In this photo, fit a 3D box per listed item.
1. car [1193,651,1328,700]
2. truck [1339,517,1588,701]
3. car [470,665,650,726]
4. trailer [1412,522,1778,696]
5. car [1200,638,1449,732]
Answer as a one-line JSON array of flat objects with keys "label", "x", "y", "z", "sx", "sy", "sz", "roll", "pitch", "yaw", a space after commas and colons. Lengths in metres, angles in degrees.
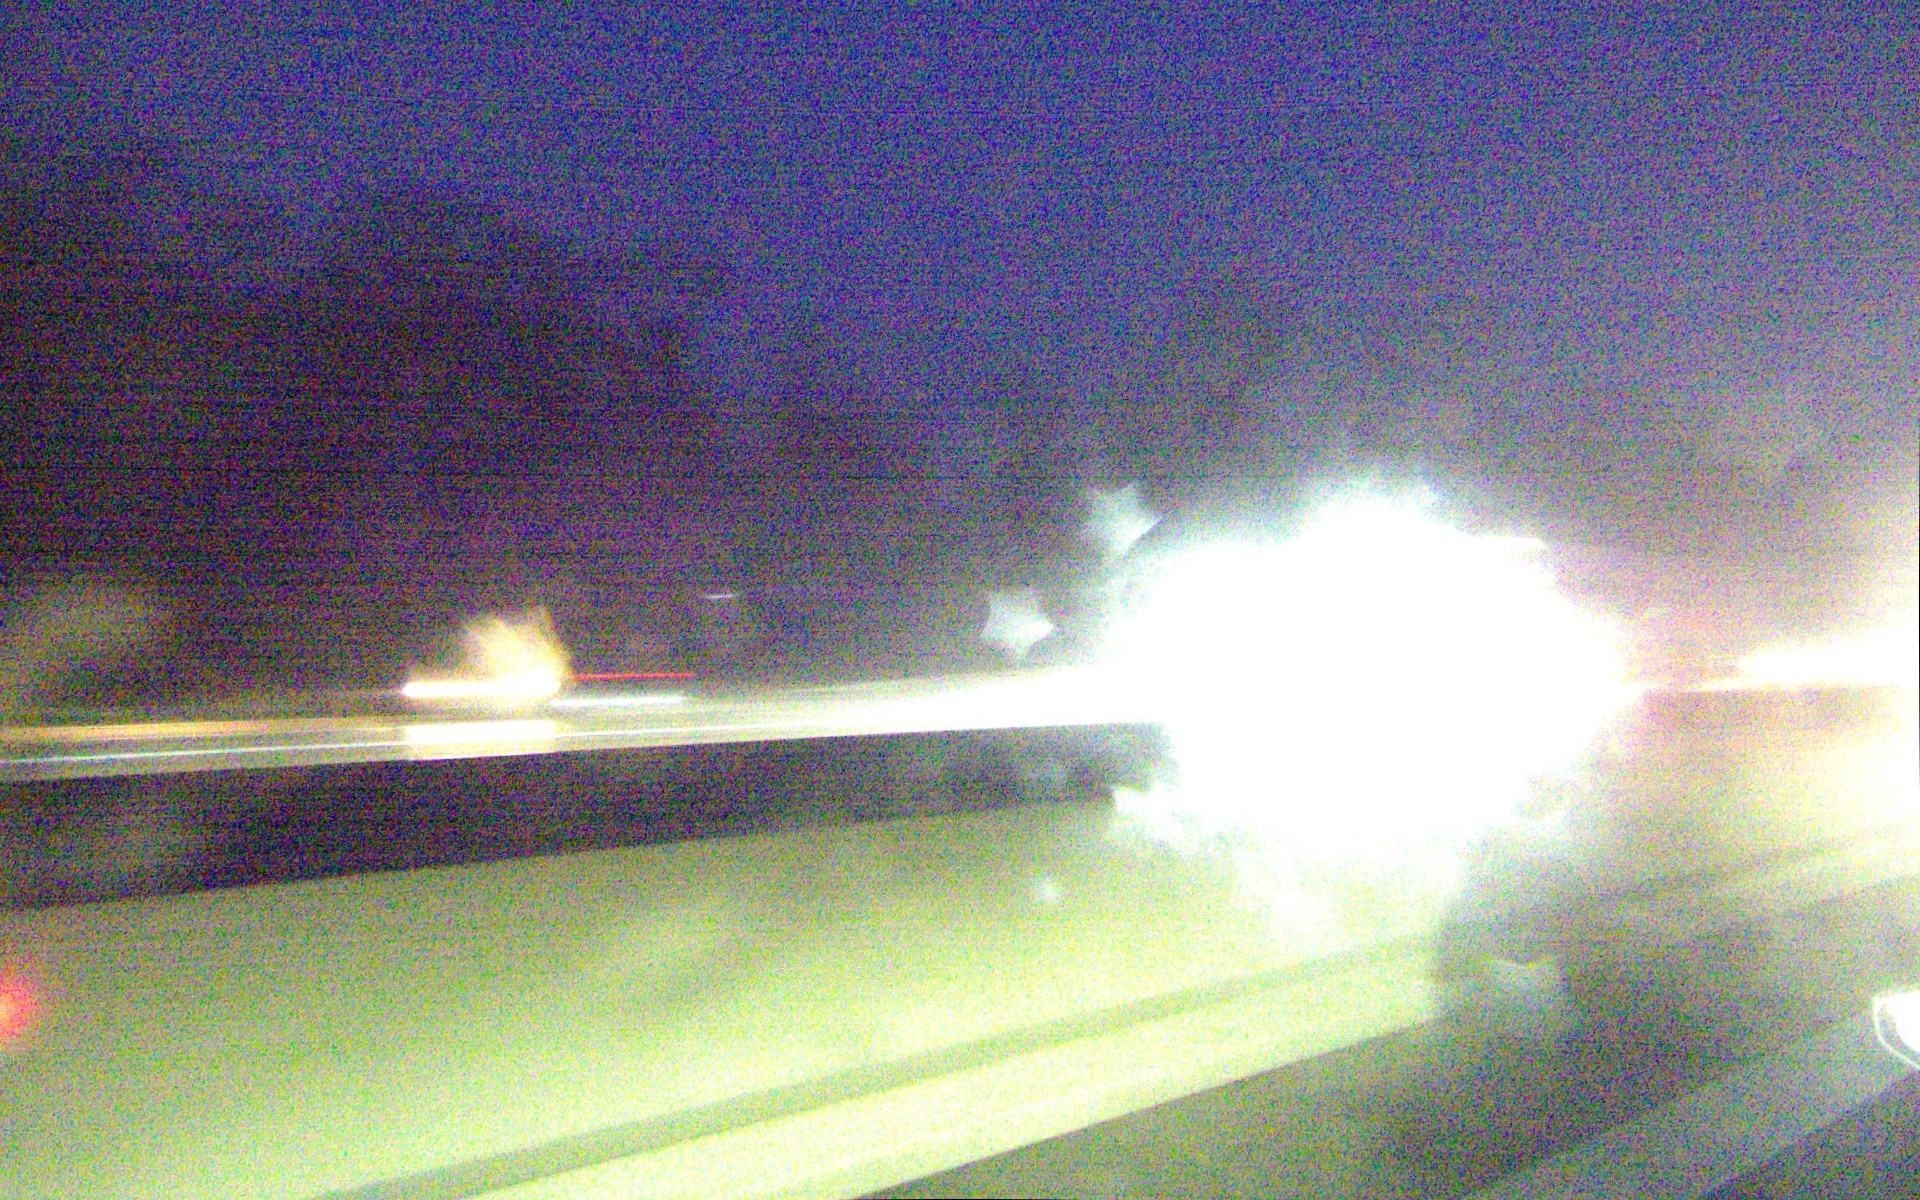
[{"label": "car", "x": 8.455, "y": 2.070, "z": 28.203, "sx": 3.639, "sy": 1.246, "sz": 1.603, "roll": 1, "pitch": -2, "yaw": -30}, {"label": "truck", "x": 13.289, "y": 0.314, "z": 26.478, "sx": 6.012, "sy": 4.349, "sz": 3.040, "roll": 1, "pitch": -2, "yaw": -30}, {"label": "car", "x": -8.720, "y": 2.036, "z": 21.968, "sx": 3.500, "sy": 1.140, "sz": 1.402, "roll": 1, "pitch": -2, "yaw": -30}, {"label": "trailer", "x": 19.426, "y": 0.397, "z": 30.095, "sx": 14.240, "sy": 4.349, "sz": 3.034, "roll": 1, "pitch": -3, "yaw": -31}, {"label": "car", "x": 6.293, "y": 1.372, "z": 17.281, "sx": 3.953, "sy": 1.439, "sz": 1.984, "roll": 1, "pitch": -2, "yaw": -30}]
